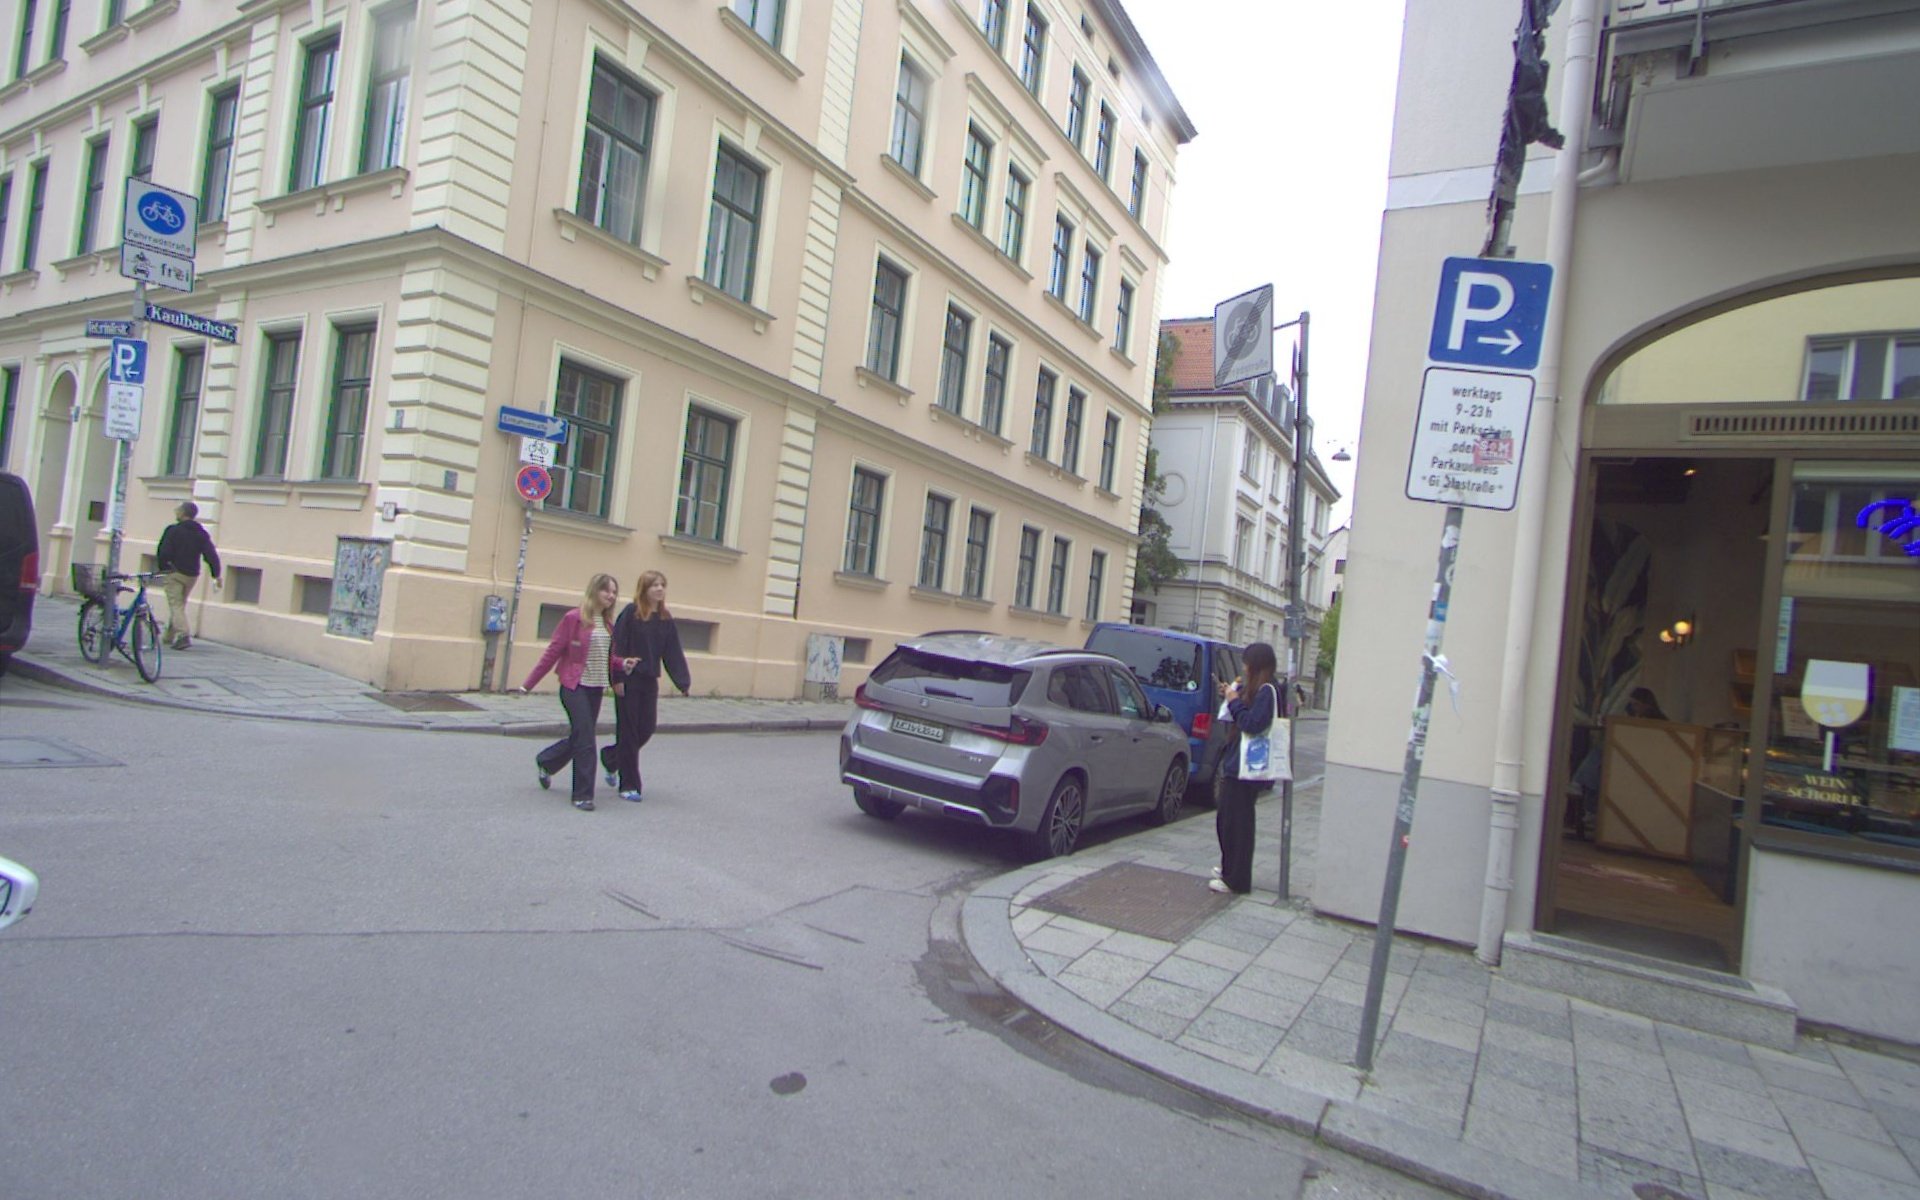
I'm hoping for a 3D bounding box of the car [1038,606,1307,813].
[{"bbox_3d":[2.962,1.366,13.102,1.941,1.939,4.450,10,0,30],"label":"car"}]

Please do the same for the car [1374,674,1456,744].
[{"bbox_3d":[16.392,3.871,36.096,2.042,2.009,4.340,10,0,30],"label":"car"}]

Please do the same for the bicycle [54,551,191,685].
[{"bbox_3d":[-8.216,0.158,9.845,1.700,1.066,0.465,9,2,32],"label":"bicycle"}]

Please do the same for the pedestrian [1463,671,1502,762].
[{"bbox_3d":[10.813,2.394,20.814,0.534,1.801,0.509,5,-1,32],"label":"pedestrian"}]

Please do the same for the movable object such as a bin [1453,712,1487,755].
[{"bbox_3d":[13.181,3.440,25.994,0.561,1.035,0.569,4,-2,43],"label":"movable object such as a bin"}]

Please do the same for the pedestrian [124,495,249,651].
[{"bbox_3d":[-9.243,-0.324,12.025,0.987,1.737,0.720,5,-1,30],"label":"pedestrian"}]

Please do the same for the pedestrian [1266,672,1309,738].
[{"bbox_3d":[8.748,2.792,26.835,0.803,1.647,0.871,5,-2,29],"label":"pedestrian"}]

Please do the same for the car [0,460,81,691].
[{"bbox_3d":[-10.383,-0.487,9.229,5.167,1.885,2.001,6,-2,33],"label":"car"}]

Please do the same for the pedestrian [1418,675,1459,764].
[{"bbox_3d":[9.727,2.420,20.445,0.564,1.717,0.498,5,-1,32],"label":"pedestrian"}]

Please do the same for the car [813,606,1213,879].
[{"bbox_3d":[0.737,1.132,8.925,1.725,1.624,4.097,8,-1,30],"label":"car"}]

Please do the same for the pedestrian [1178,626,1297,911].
[{"bbox_3d":[1.789,1.037,6.439,0.517,1.666,0.636,5,-1,23],"label":"pedestrian"}]

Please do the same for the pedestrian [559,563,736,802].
[{"bbox_3d":[-2.360,0.600,7.608,0.963,1.639,0.660,5,-1,30],"label":"pedestrian"}]

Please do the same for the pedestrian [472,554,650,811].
[{"bbox_3d":[-2.809,0.550,7.070,1.051,1.644,0.473,5,-1,31],"label":"pedestrian"}]

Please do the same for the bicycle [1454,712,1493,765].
[{"bbox_3d":[11.728,3.148,22.963,0.598,1.084,1.468,5,-2,32],"label":"bicycle"}]
